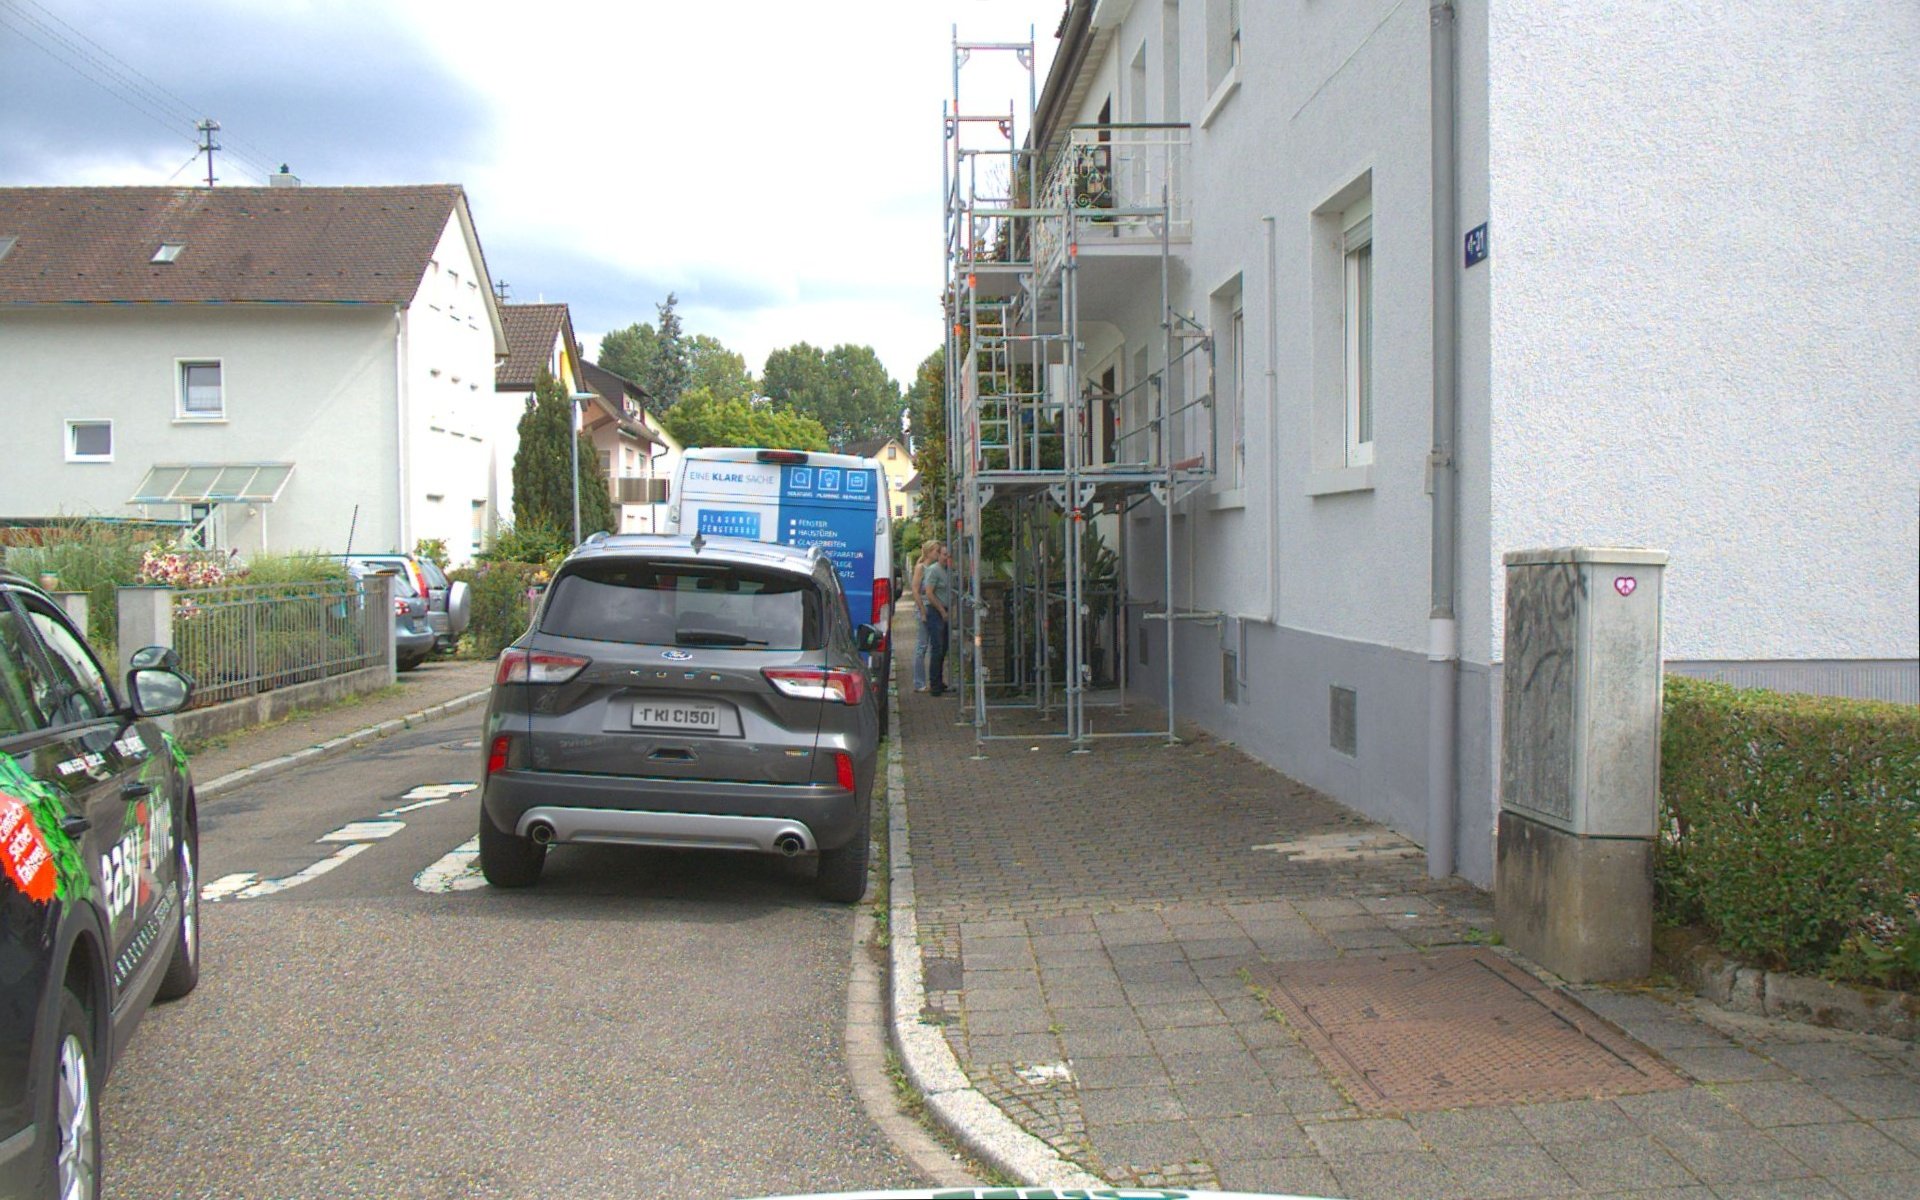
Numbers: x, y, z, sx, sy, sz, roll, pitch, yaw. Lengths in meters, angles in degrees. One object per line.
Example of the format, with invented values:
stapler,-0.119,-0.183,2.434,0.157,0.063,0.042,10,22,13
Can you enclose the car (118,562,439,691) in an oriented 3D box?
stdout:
car,-8.739,0.309,21.450,3.502,1.527,1.585,-1,1,-7

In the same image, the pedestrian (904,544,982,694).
pedestrian,-0.193,0.204,18.692,0.591,1.657,0.622,-1,0,39

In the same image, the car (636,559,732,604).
car,-11.752,-0.794,70.587,3.910,1.803,1.868,-1,0,-6

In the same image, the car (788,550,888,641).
car,-2.611,-0.153,35.053,1.955,1.779,4.338,-1,2,-5

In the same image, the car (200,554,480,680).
car,-8.998,0.216,24.230,3.502,1.696,1.585,-1,1,-7

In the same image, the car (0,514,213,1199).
car,-2.941,0.646,4.070,1.791,1.546,4.016,-1,1,-22

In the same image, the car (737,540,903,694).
car,-1.862,0.141,22.022,1.955,1.802,4.338,-1,2,-5

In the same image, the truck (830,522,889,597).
truck,-3.832,-1.541,62.633,2.088,2.703,4.581,-1,2,-5

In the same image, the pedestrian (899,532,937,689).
pedestrian,-0.487,0.115,19.219,0.399,1.793,0.513,-1,0,-3

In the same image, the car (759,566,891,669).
car,-2.221,0.219,27.105,1.955,1.480,4.338,-1,2,-5

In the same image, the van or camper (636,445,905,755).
van or camper,-1.681,-0.075,16.114,2.148,2.501,5.052,-1,2,-3

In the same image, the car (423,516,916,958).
car,-1.359,0.488,8.936,1.955,1.756,4.338,-1,2,-5
